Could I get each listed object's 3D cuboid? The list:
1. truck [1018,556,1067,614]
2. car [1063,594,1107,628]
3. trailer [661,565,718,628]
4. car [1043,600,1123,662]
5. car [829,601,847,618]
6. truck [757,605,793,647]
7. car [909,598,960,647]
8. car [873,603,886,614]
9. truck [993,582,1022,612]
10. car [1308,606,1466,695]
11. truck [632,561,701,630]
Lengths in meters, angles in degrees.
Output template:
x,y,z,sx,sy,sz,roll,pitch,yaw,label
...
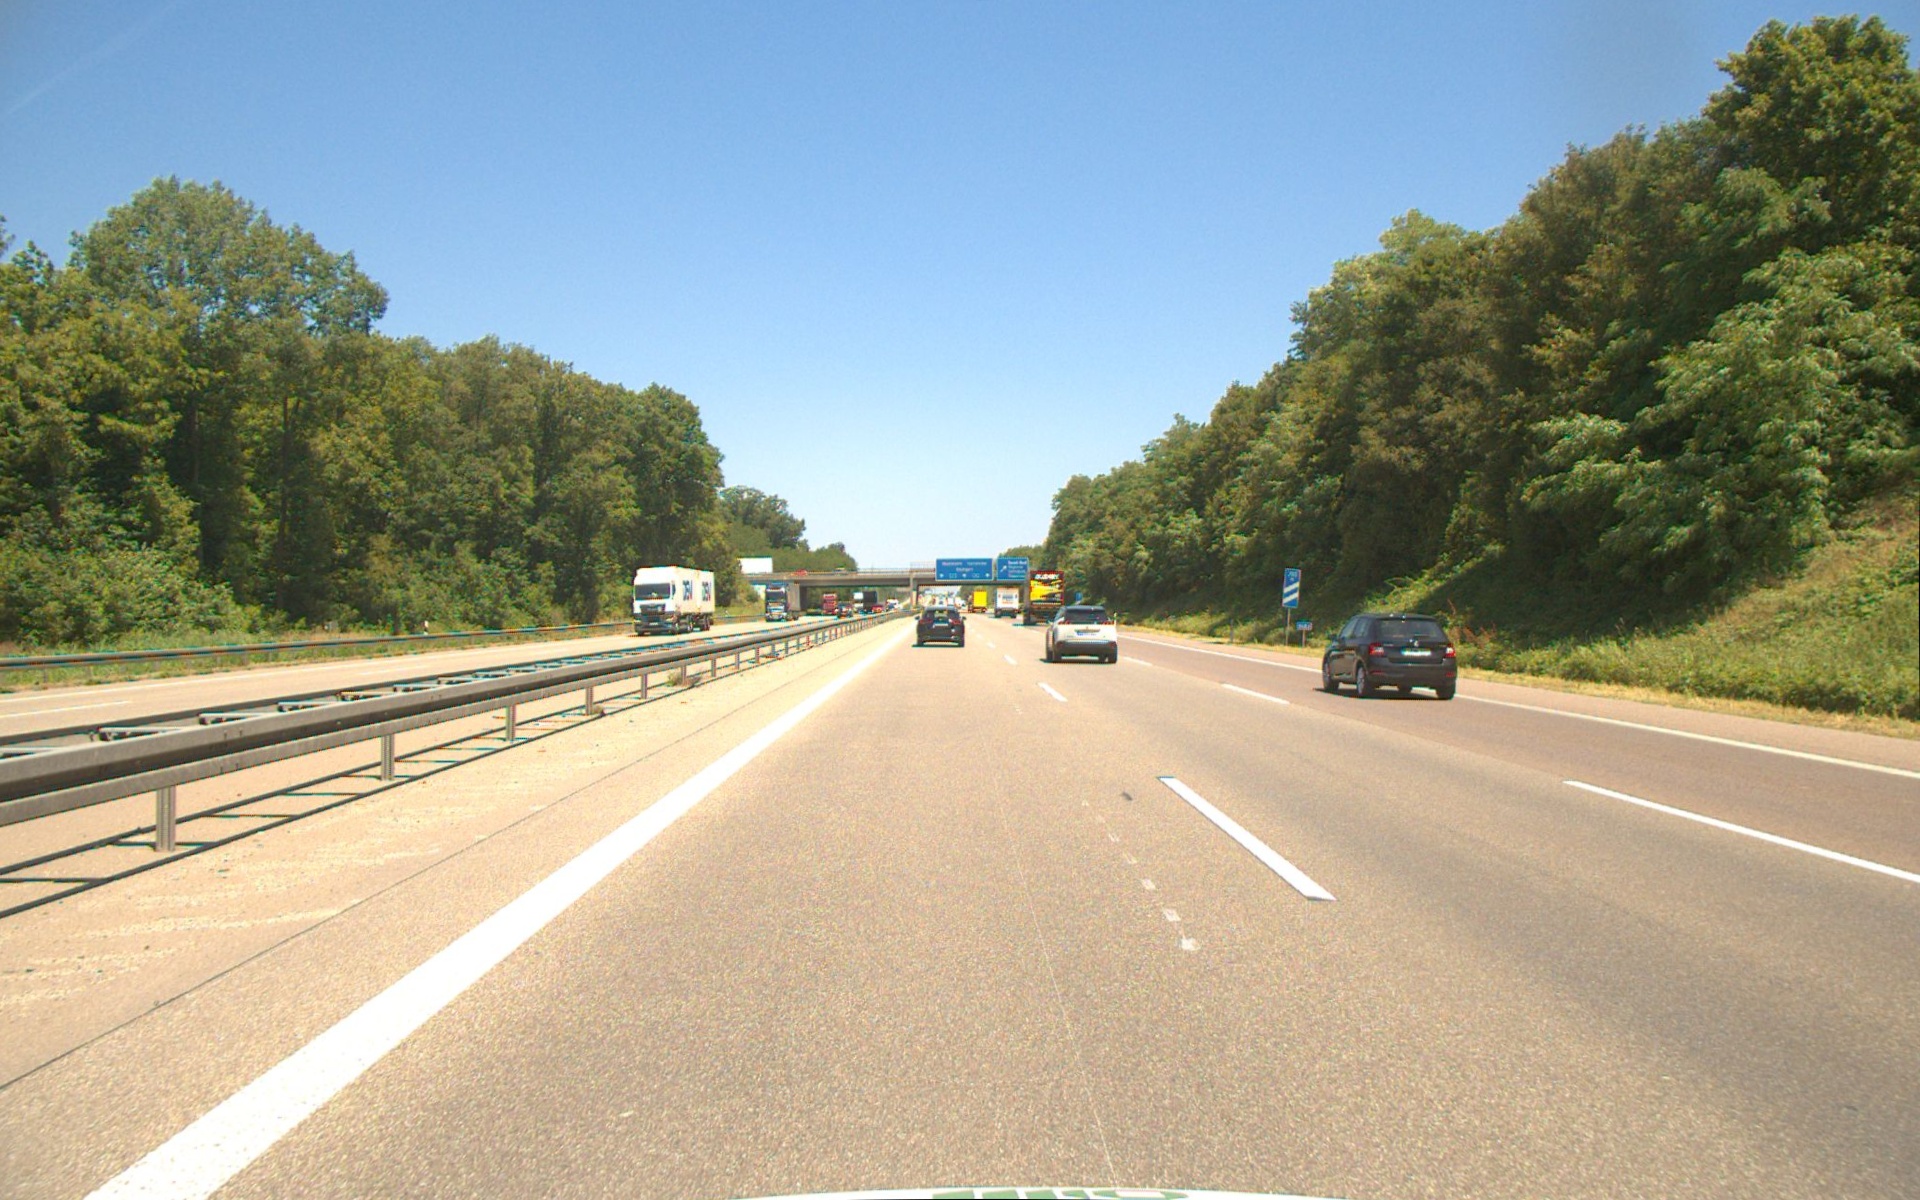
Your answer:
x,y,z,sx,sy,sz,roll,pitch,yaw,label
6.148,-1.030,125.176,2.914,4.107,10.979,2,0,-1,truck
6.138,0.548,81.588,1.832,1.583,4.200,1,0,-1,car
-18.415,-0.193,113.112,2.526,4.059,8.557,1,0,-1,trailer
3.389,0.847,46.306,1.790,1.636,4.807,0,0,-1,car
-15.387,1.214,208.773,1.953,2.049,5.358,-3,0,-1,car
-19.969,2.822,178.728,3.256,4.417,6.611,1,0,-1,truck
-0.923,0.806,60.915,1.790,1.736,3.999,1,0,-1,car
-12.161,1.295,250.850,1.696,1.613,4.644,1,0,0,car
5.684,-0.307,196.575,2.965,3.377,10.775,1,0,4,truck
7.671,0.872,30.131,1.636,1.473,4.573,1,0,-1,car
-18.284,-0.239,103.657,2.528,4.078,10.336,1,0,-1,truck
